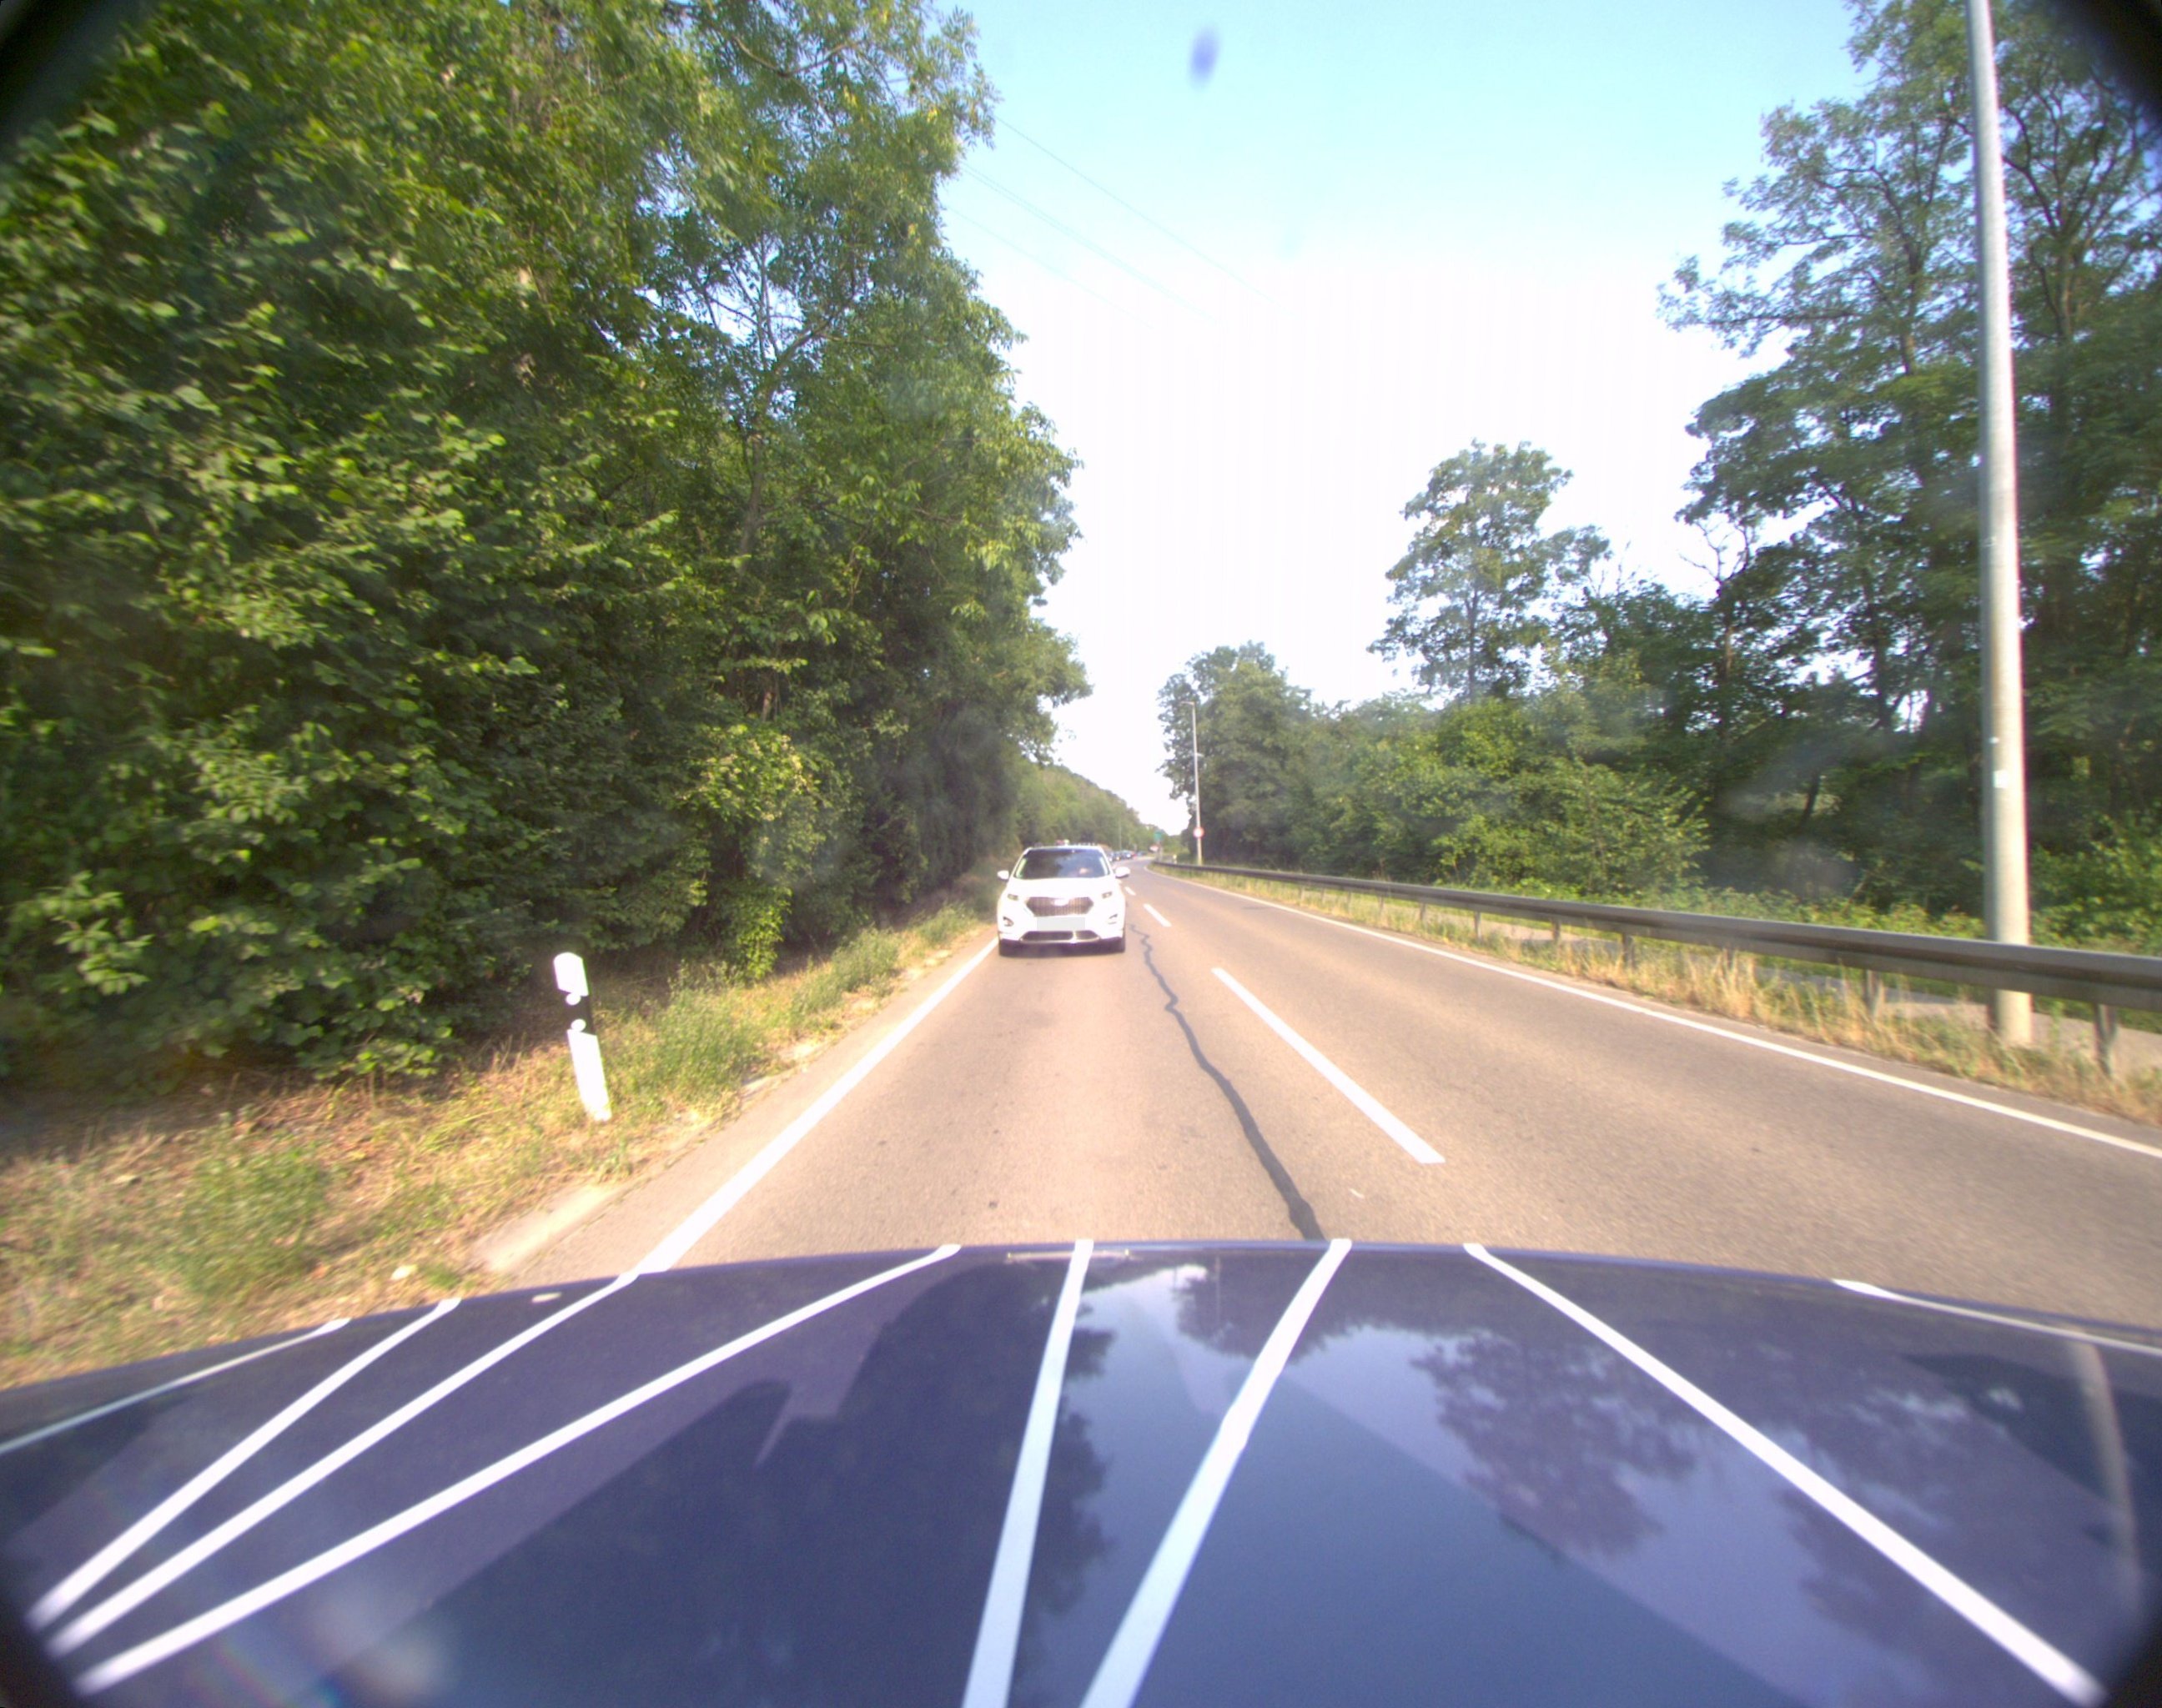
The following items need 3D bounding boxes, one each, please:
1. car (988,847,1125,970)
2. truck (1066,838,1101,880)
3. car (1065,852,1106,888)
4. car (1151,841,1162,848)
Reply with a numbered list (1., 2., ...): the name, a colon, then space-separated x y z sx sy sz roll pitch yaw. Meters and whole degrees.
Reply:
1. car: -0.318 0.763 12.844 1.894 1.691 4.136 -2 0 1
2. truck: 0.166 0.265 45.225 1.894 2.334 5.273 -2 0 1
3. car: 0.230 0.692 34.954 1.704 1.477 4.136 -2 0 1
4. car: 19.894 -2.416 199.915 1.996 1.697 4.004 -2 1 17
